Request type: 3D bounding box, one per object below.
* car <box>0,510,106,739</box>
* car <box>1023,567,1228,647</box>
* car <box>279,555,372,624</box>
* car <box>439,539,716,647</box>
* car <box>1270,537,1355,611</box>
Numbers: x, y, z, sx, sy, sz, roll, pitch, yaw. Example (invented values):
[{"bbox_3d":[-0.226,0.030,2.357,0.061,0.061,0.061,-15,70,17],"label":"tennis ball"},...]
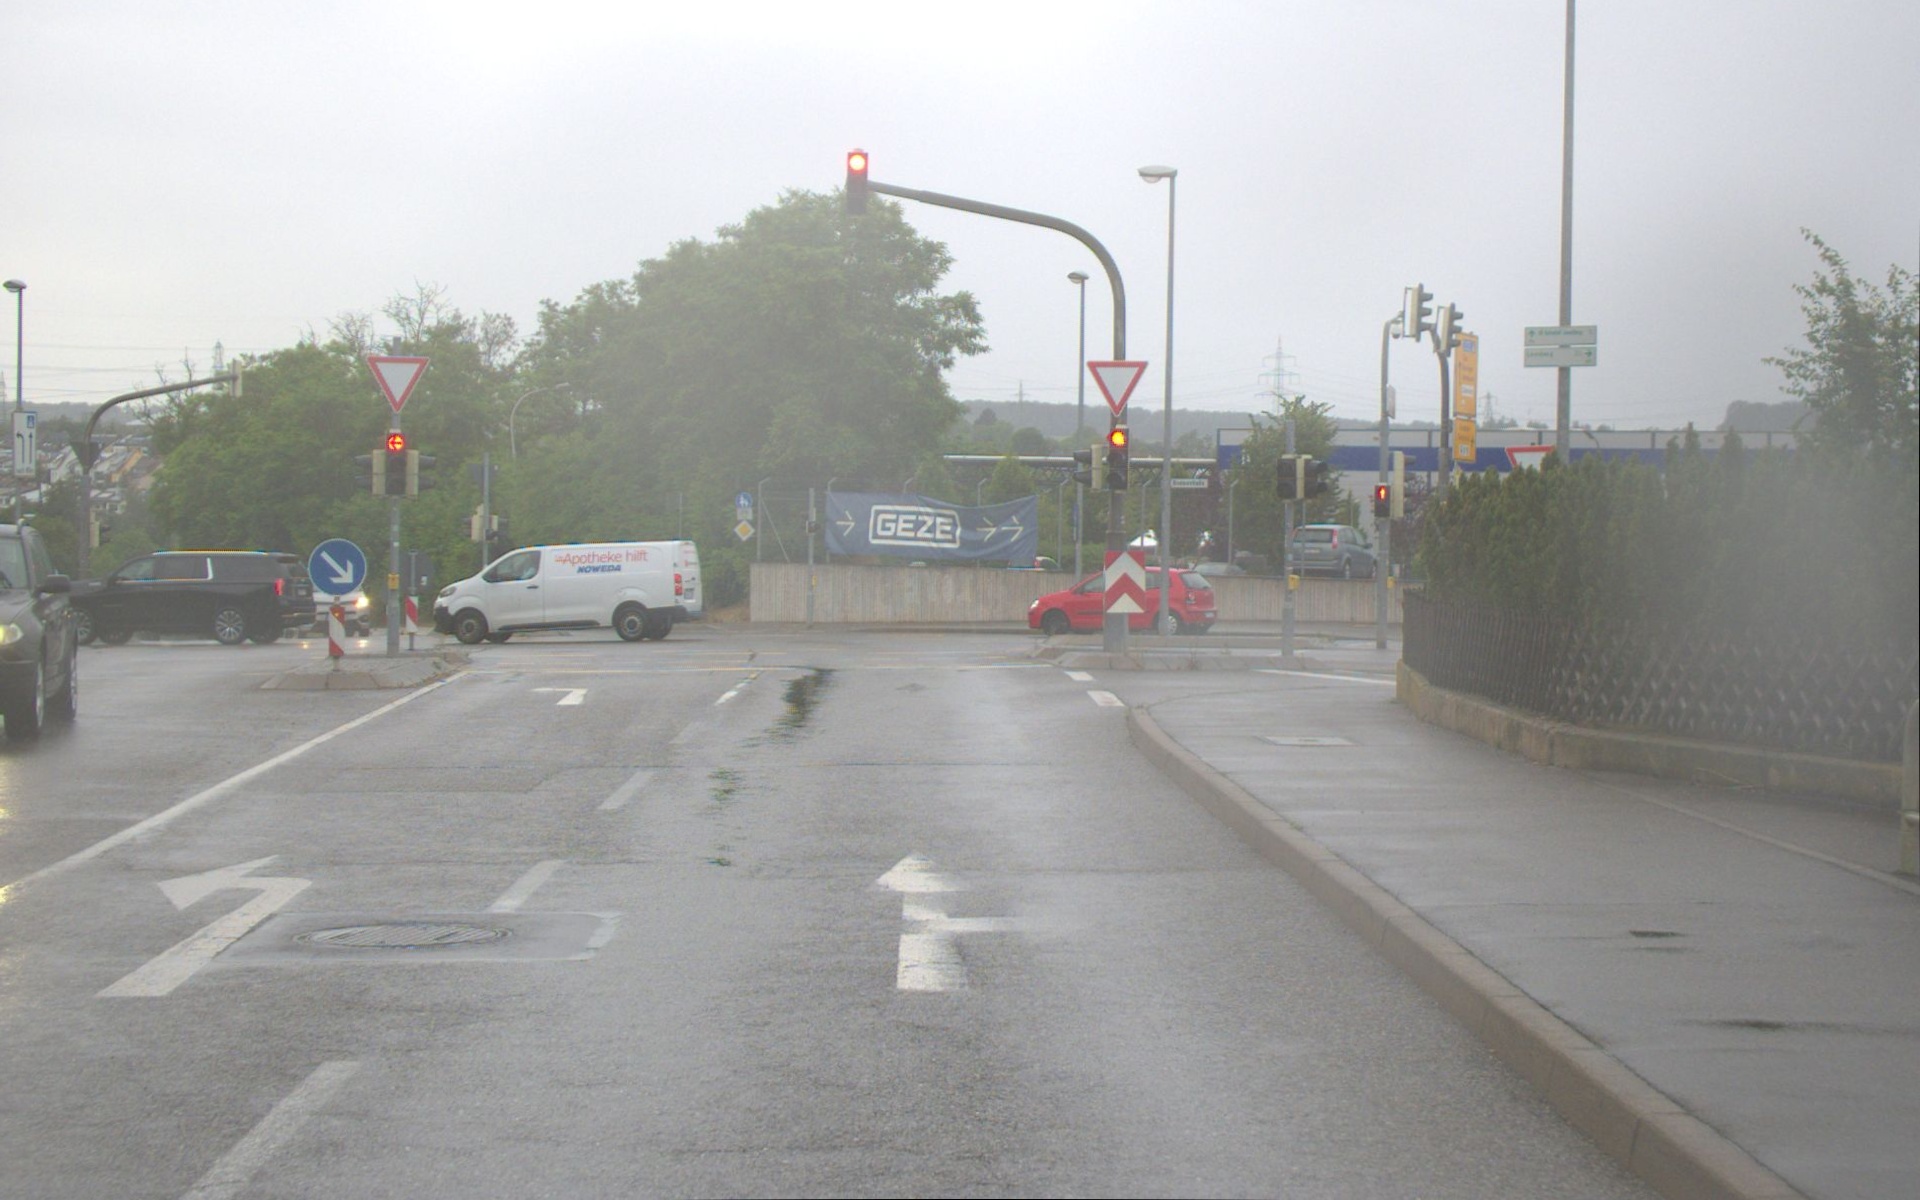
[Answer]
[{"bbox_3d":[-8.070,0.142,27.170,1.993,1.662,4.417,1,1,-7],"label":"car"},{"bbox_3d":[3.352,0.124,69.926,3.801,1.444,1.618,3,1,29],"label":"car"},{"bbox_3d":[-16.042,-0.279,86.743,1.993,1.612,4.001,1,1,-15],"label":"car"},{"bbox_3d":[-7.473,-0.149,67.371,4.998,2.007,1.999,1,0,10],"label":"car"},{"bbox_3d":[9.945,-0.723,96.788,1.994,2.007,3.998,1,0,11],"label":"car"}]
